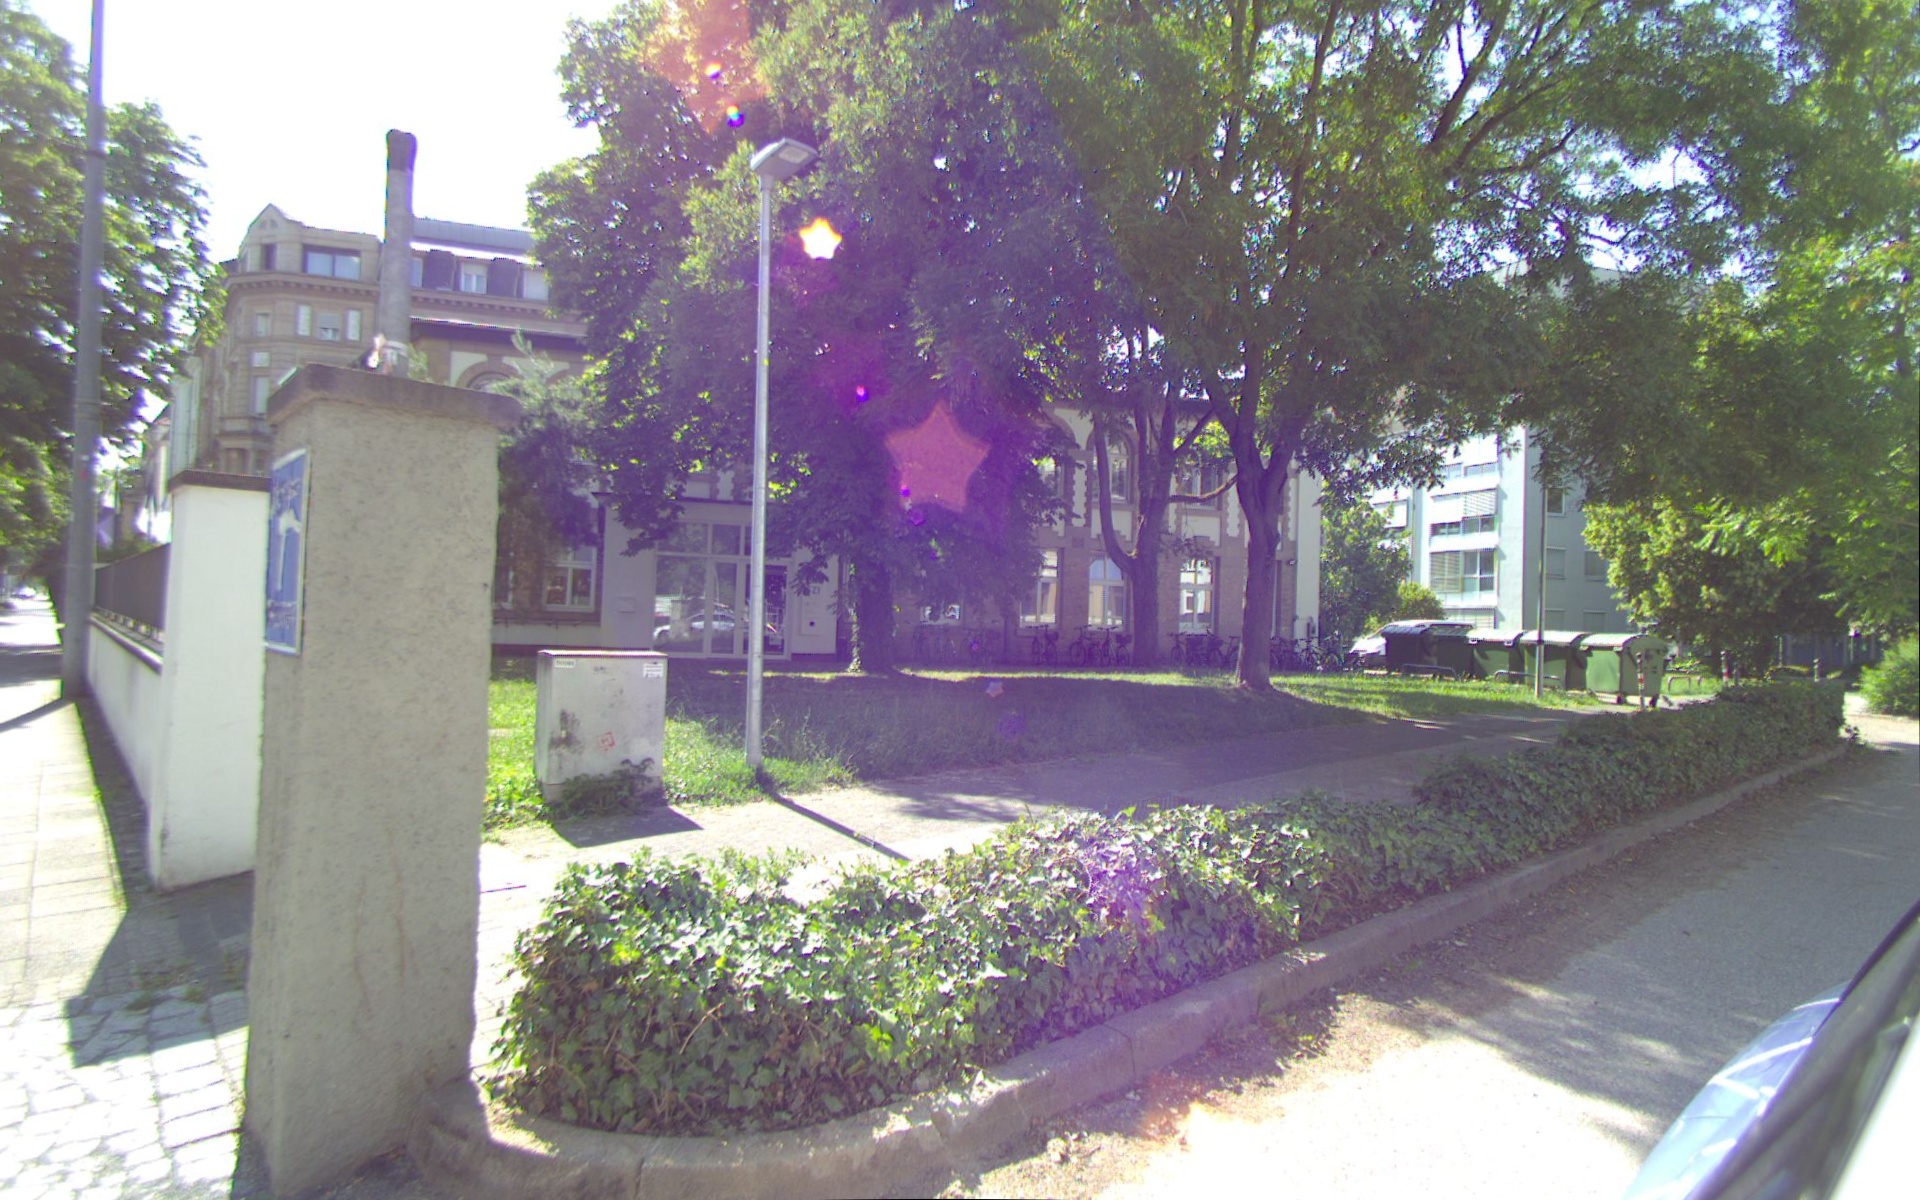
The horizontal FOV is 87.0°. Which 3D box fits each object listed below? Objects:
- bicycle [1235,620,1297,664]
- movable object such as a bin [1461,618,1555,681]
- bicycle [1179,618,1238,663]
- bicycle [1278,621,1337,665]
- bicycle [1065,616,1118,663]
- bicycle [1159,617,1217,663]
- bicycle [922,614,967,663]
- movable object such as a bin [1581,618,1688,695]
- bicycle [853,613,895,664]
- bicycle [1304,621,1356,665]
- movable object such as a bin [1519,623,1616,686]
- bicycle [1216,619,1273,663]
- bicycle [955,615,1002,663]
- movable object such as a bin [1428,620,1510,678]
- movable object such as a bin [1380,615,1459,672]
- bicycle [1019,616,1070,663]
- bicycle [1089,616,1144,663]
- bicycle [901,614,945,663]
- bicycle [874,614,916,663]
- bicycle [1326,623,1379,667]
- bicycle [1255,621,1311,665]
[{"bbox_3d":[8.598,1.167,28.557,0.575,1.176,2.107,2,-1,-17],"label":"bicycle"},{"bbox_3d":[12.705,1.131,23.519,1.190,1.379,1.505,2,-1,-20],"label":"movable object such as a bin"},{"bbox_3d":[6.862,1.095,28.071,0.575,1.176,2.107,2,-1,-17],"label":"bicycle"},{"bbox_3d":[9.934,1.210,28.994,0.600,1.176,1.855,2,-1,-17],"label":"bicycle"},{"bbox_3d":[3.493,1.046,27.104,0.575,1.176,2.107,2,-1,-17],"label":"bicycle"},{"bbox_3d":[6.251,1.071,27.828,0.575,1.176,2.107,2,-1,-17],"label":"bicycle"},{"bbox_3d":[-0.422,0.966,26.114,0.575,1.176,2.107,2,-1,-17],"label":"bicycle"},{"bbox_3d":[13.775,1.129,20.707,1.191,1.481,1.393,1,-1,-5],"label":"movable object such as a bin"},{"bbox_3d":[-2.152,0.936,25.001,0.575,1.176,2.107,2,-1,-17],"label":"bicycle"},{"bbox_3d":[10.585,1.221,29.029,0.496,1.176,1.808,2,-1,-12],"label":"bicycle"},{"bbox_3d":[13.242,1.175,22.086,1.190,1.317,1.358,2,-1,-20],"label":"movable object such as a bin"},{"bbox_3d":[7.918,1.126,28.277,0.575,1.176,1.925,2,-1,-17],"label":"bicycle"},{"bbox_3d":[0.469,0.985,26.317,0.575,1.176,2.107,2,-1,-17],"label":"bicycle"},{"bbox_3d":[12.585,1.200,25.066,1.190,1.366,1.355,2,-1,-20],"label":"movable object such as a bin"},{"bbox_3d":[12.029,1.135,26.542,1.224,1.427,1.439,2,-1,-21],"label":"movable object such as a bin"},{"bbox_3d":[2.206,1.023,26.755,0.575,1.176,2.107,2,-1,-17],"label":"bicycle"},{"bbox_3d":[4.209,1.046,27.358,0.575,1.176,2.107,2,-1,-17],"label":"bicycle"},{"bbox_3d":[-0.970,0.961,25.818,0.575,1.176,2.107,2,-1,-17],"label":"bicycle"},{"bbox_3d":[-1.665,0.945,25.611,0.575,1.176,2.107,2,-1,-17],"label":"bicycle"},{"bbox_3d":[11.210,1.273,28.959,0.546,1.176,1.947,1,-1,-7],"label":"bicycle"},{"bbox_3d":[9.141,1.188,28.700,0.484,1.176,1.918,2,-1,-17],"label":"bicycle"}]
